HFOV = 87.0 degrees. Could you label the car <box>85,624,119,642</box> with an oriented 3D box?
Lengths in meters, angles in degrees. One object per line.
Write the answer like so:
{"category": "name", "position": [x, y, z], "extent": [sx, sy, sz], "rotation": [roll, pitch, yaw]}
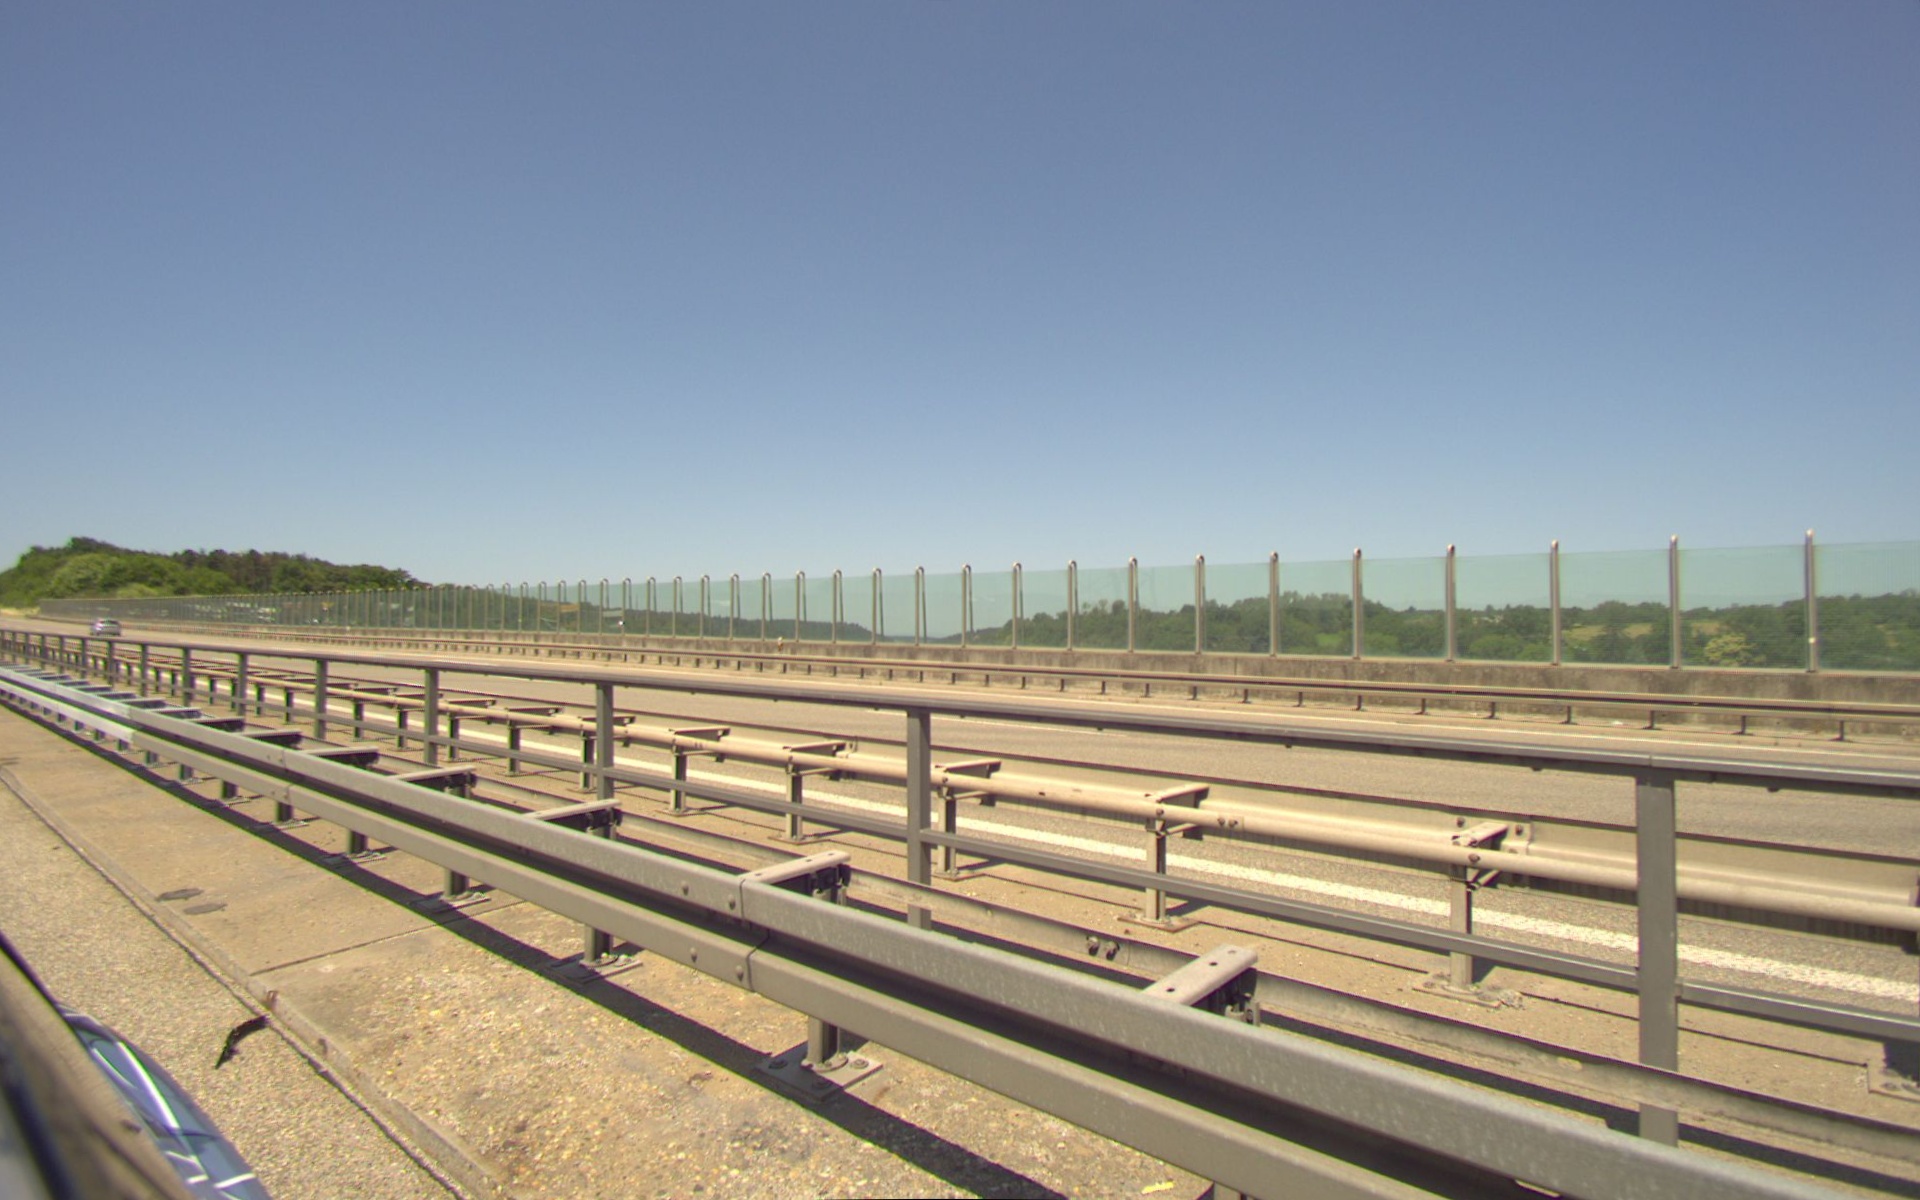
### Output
{"category": "car", "position": [-70.985, 2.697, 83.715], "extent": [3.675, 1.405, 1.587], "rotation": [0, -3, 41]}
